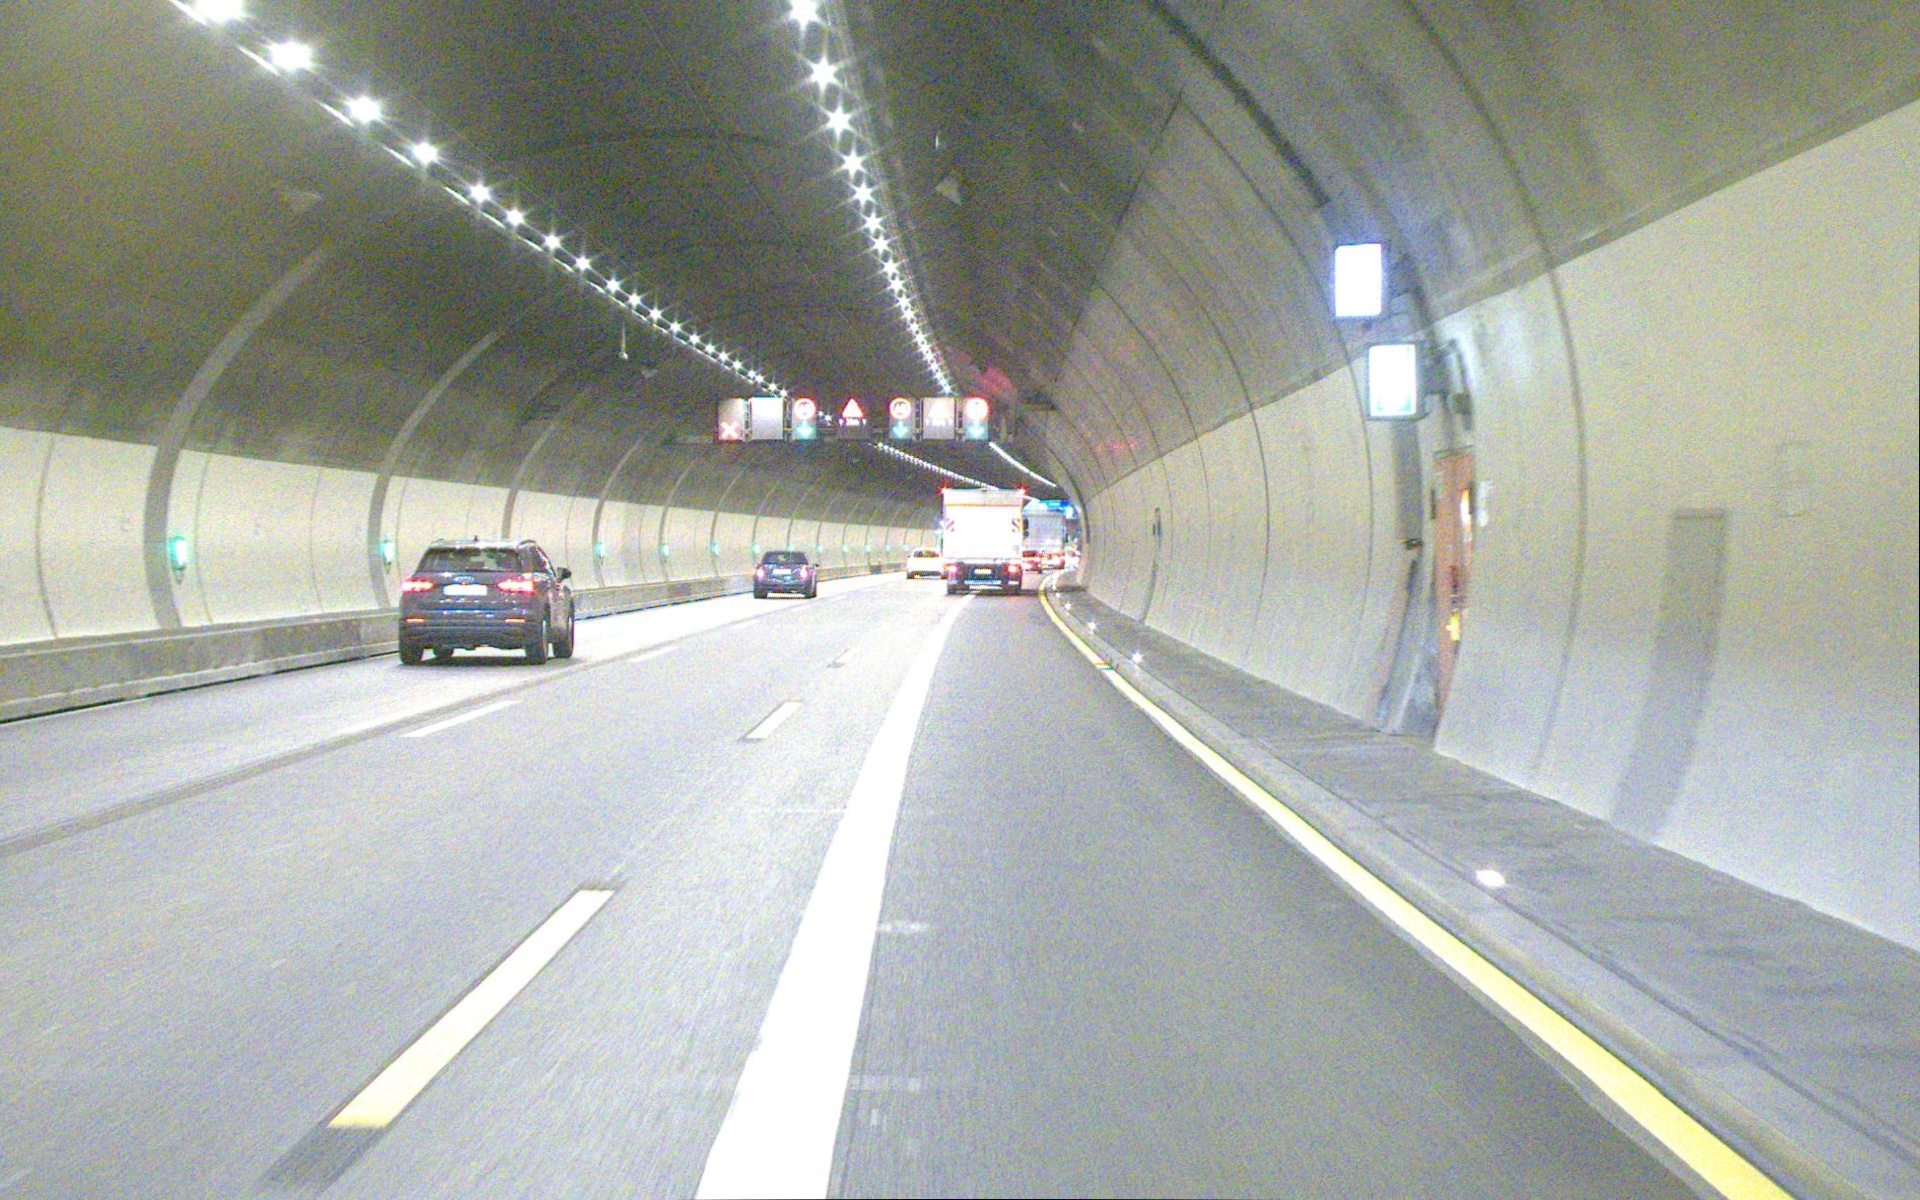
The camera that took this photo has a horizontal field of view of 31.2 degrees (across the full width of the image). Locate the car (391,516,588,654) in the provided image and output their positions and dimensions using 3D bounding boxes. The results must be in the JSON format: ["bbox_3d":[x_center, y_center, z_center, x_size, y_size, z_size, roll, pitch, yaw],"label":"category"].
[{"bbox_3d":[-5.947,-0.209,43.830,1.813,1.612,4.000,2,1,1],"label":"car"}]

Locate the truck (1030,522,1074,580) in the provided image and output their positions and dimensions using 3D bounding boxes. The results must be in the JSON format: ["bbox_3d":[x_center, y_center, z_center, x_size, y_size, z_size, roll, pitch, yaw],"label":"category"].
[{"bbox_3d":[6.655,-3.502,246.981,2.923,4.034,14.028,1,1,2],"label":"truck"}]

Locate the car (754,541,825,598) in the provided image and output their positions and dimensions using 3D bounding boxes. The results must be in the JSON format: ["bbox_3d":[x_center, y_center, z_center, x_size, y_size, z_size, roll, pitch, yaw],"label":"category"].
[{"bbox_3d":[-4.983,-0.916,101.069,1.812,1.514,4.000,2,2,0],"label":"car"}]

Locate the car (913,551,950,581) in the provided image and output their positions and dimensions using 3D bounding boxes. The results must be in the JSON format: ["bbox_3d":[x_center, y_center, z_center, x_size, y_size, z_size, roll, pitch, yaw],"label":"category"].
[{"bbox_3d":[-1.322,-1.609,161.418,1.650,1.270,4.000,2,2,0],"label":"car"}]

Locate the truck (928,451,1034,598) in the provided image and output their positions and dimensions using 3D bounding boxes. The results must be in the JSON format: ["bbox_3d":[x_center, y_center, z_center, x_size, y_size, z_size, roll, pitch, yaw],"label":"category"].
[{"bbox_3d":[0.588,-2.483,117.668,3.278,4.634,17.287,1,1,-1],"label":"truck"}]
